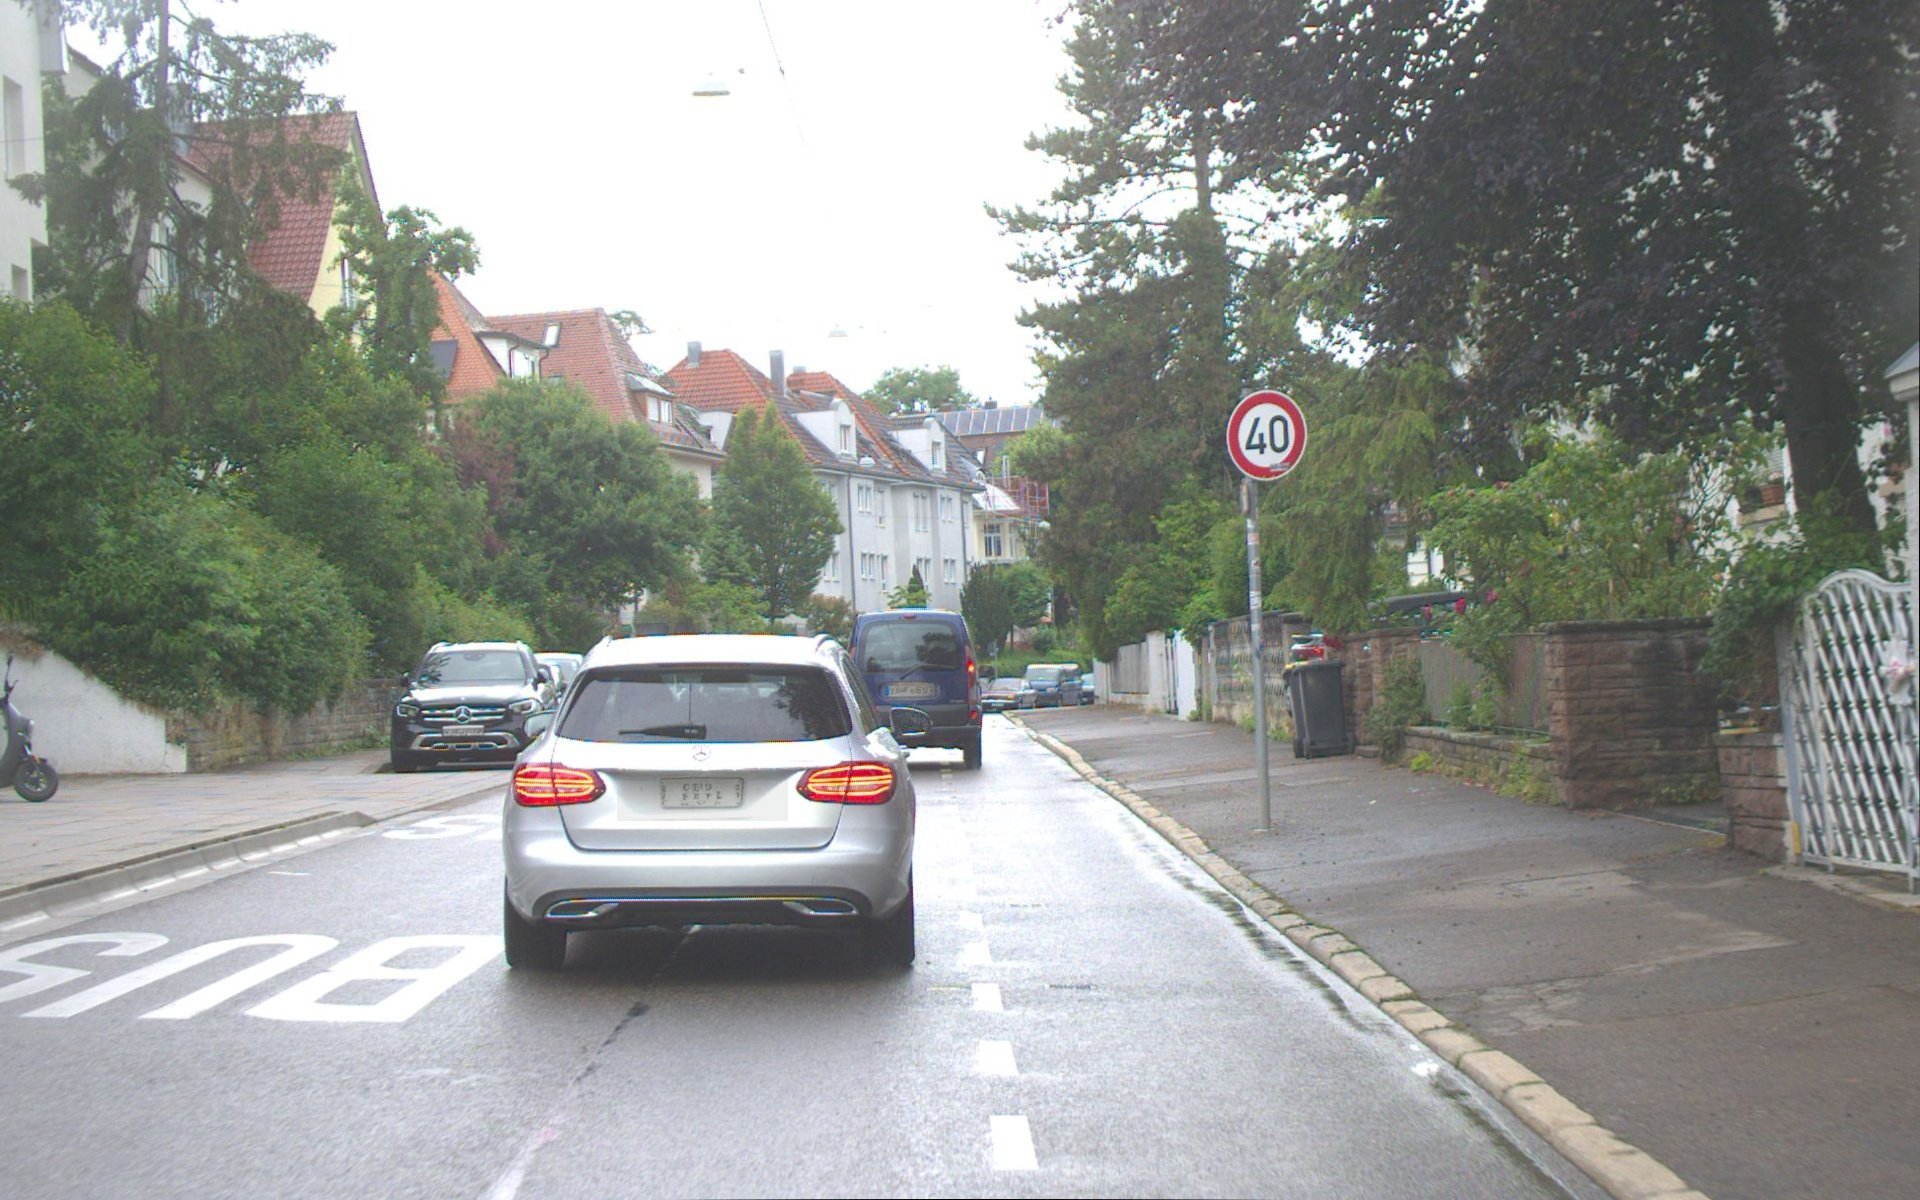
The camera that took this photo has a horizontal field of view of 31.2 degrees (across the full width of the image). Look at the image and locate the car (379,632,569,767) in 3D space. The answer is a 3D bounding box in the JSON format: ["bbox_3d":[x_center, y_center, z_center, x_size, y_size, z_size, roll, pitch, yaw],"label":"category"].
[{"bbox_3d":[-6.191,1.252,44.233,1.893,1.617,4.379,-1,-1,-1],"label":"car"}]

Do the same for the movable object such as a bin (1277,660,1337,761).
[{"bbox_3d":[3.375,1.076,33.479,0.494,0.952,0.503,-1,0,-2],"label":"movable object such as a bin"}]

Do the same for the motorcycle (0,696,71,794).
[{"bbox_3d":[-9.354,1.355,32.367,1.794,0.900,0.603,1,-1,-1],"label":"motorcycle"}]

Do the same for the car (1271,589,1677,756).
[{"bbox_3d":[5.424,0.750,36.635,3.987,1.634,1.918,-1,1,-1],"label":"car"}]

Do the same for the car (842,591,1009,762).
[{"bbox_3d":[-0.405,0.921,40.561,1.843,1.897,4.000,-1,-2,-1],"label":"car"}]

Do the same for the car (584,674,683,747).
[{"bbox_3d":[-6.795,2.298,71.808,1.694,1.442,3.813,-1,-1,0],"label":"car"}]

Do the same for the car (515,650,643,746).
[{"bbox_3d":[-6.475,1.645,58.815,1.756,1.442,4.416,-1,1,-1],"label":"car"}]

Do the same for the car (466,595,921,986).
[{"bbox_3d":[-1.180,0.797,15.836,1.816,1.551,4.000,0,-1,-3],"label":"car"}]

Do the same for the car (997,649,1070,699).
[{"bbox_3d":[3.139,3.164,145.756,1.831,2.049,5.005,-1,-2,17],"label":"car"}]

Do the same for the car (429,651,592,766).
[{"bbox_3d":[-6.391,1.519,49.224,1.893,1.442,3.814,-1,1,-1],"label":"car"}]

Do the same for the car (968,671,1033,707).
[{"bbox_3d":[1.667,3.612,140.198,1.644,1.412,4.609,-1,-1,14],"label":"car"}]

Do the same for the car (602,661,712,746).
[{"bbox_3d":[-6.873,2.324,78.494,1.993,1.872,5.356,0,-1,1],"label":"car"}]

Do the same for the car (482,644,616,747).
[{"bbox_3d":[-6.409,1.470,53.923,1.696,1.536,3.814,-1,-1,-1],"label":"car"}]

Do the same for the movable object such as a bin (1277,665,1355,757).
[{"bbox_3d":[3.404,1.058,32.901,0.651,0.853,0.503,-1,0,-2],"label":"movable object such as a bin"}]

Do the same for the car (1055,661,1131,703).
[{"bbox_3d":[5.939,3.618,152.890,1.995,1.683,4.672,-1,1,20],"label":"car"}]

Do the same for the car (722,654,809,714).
[{"bbox_3d":[-5.794,2.500,102.903,1.994,1.696,4.737,1,-1,4],"label":"car"}]
